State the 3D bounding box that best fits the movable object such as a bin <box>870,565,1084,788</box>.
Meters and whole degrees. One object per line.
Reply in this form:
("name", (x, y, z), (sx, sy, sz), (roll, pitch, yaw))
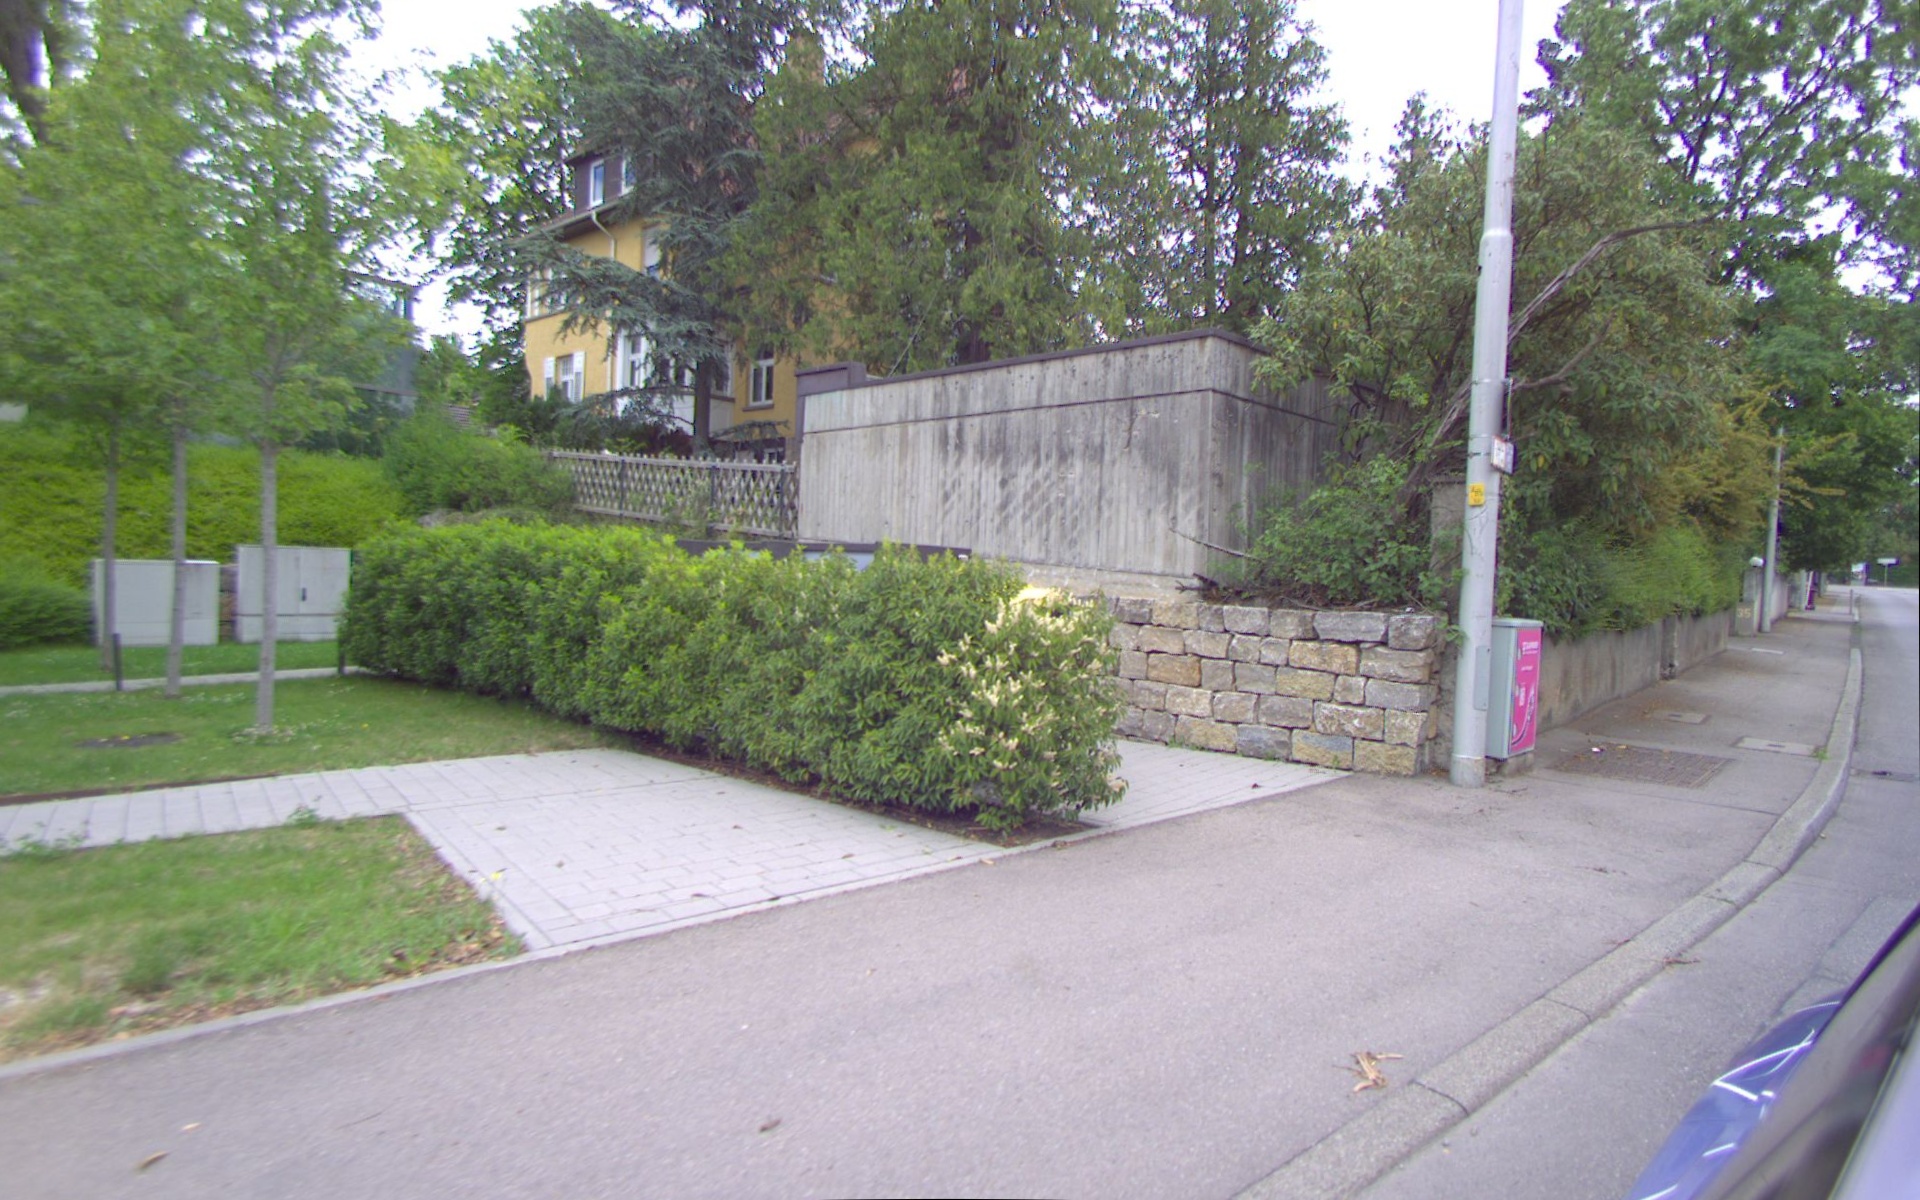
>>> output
("movable object such as a bin", (0.094, 0.459, 7.049), (0.859, 1.380, 1.268), (1, 1, -39))
